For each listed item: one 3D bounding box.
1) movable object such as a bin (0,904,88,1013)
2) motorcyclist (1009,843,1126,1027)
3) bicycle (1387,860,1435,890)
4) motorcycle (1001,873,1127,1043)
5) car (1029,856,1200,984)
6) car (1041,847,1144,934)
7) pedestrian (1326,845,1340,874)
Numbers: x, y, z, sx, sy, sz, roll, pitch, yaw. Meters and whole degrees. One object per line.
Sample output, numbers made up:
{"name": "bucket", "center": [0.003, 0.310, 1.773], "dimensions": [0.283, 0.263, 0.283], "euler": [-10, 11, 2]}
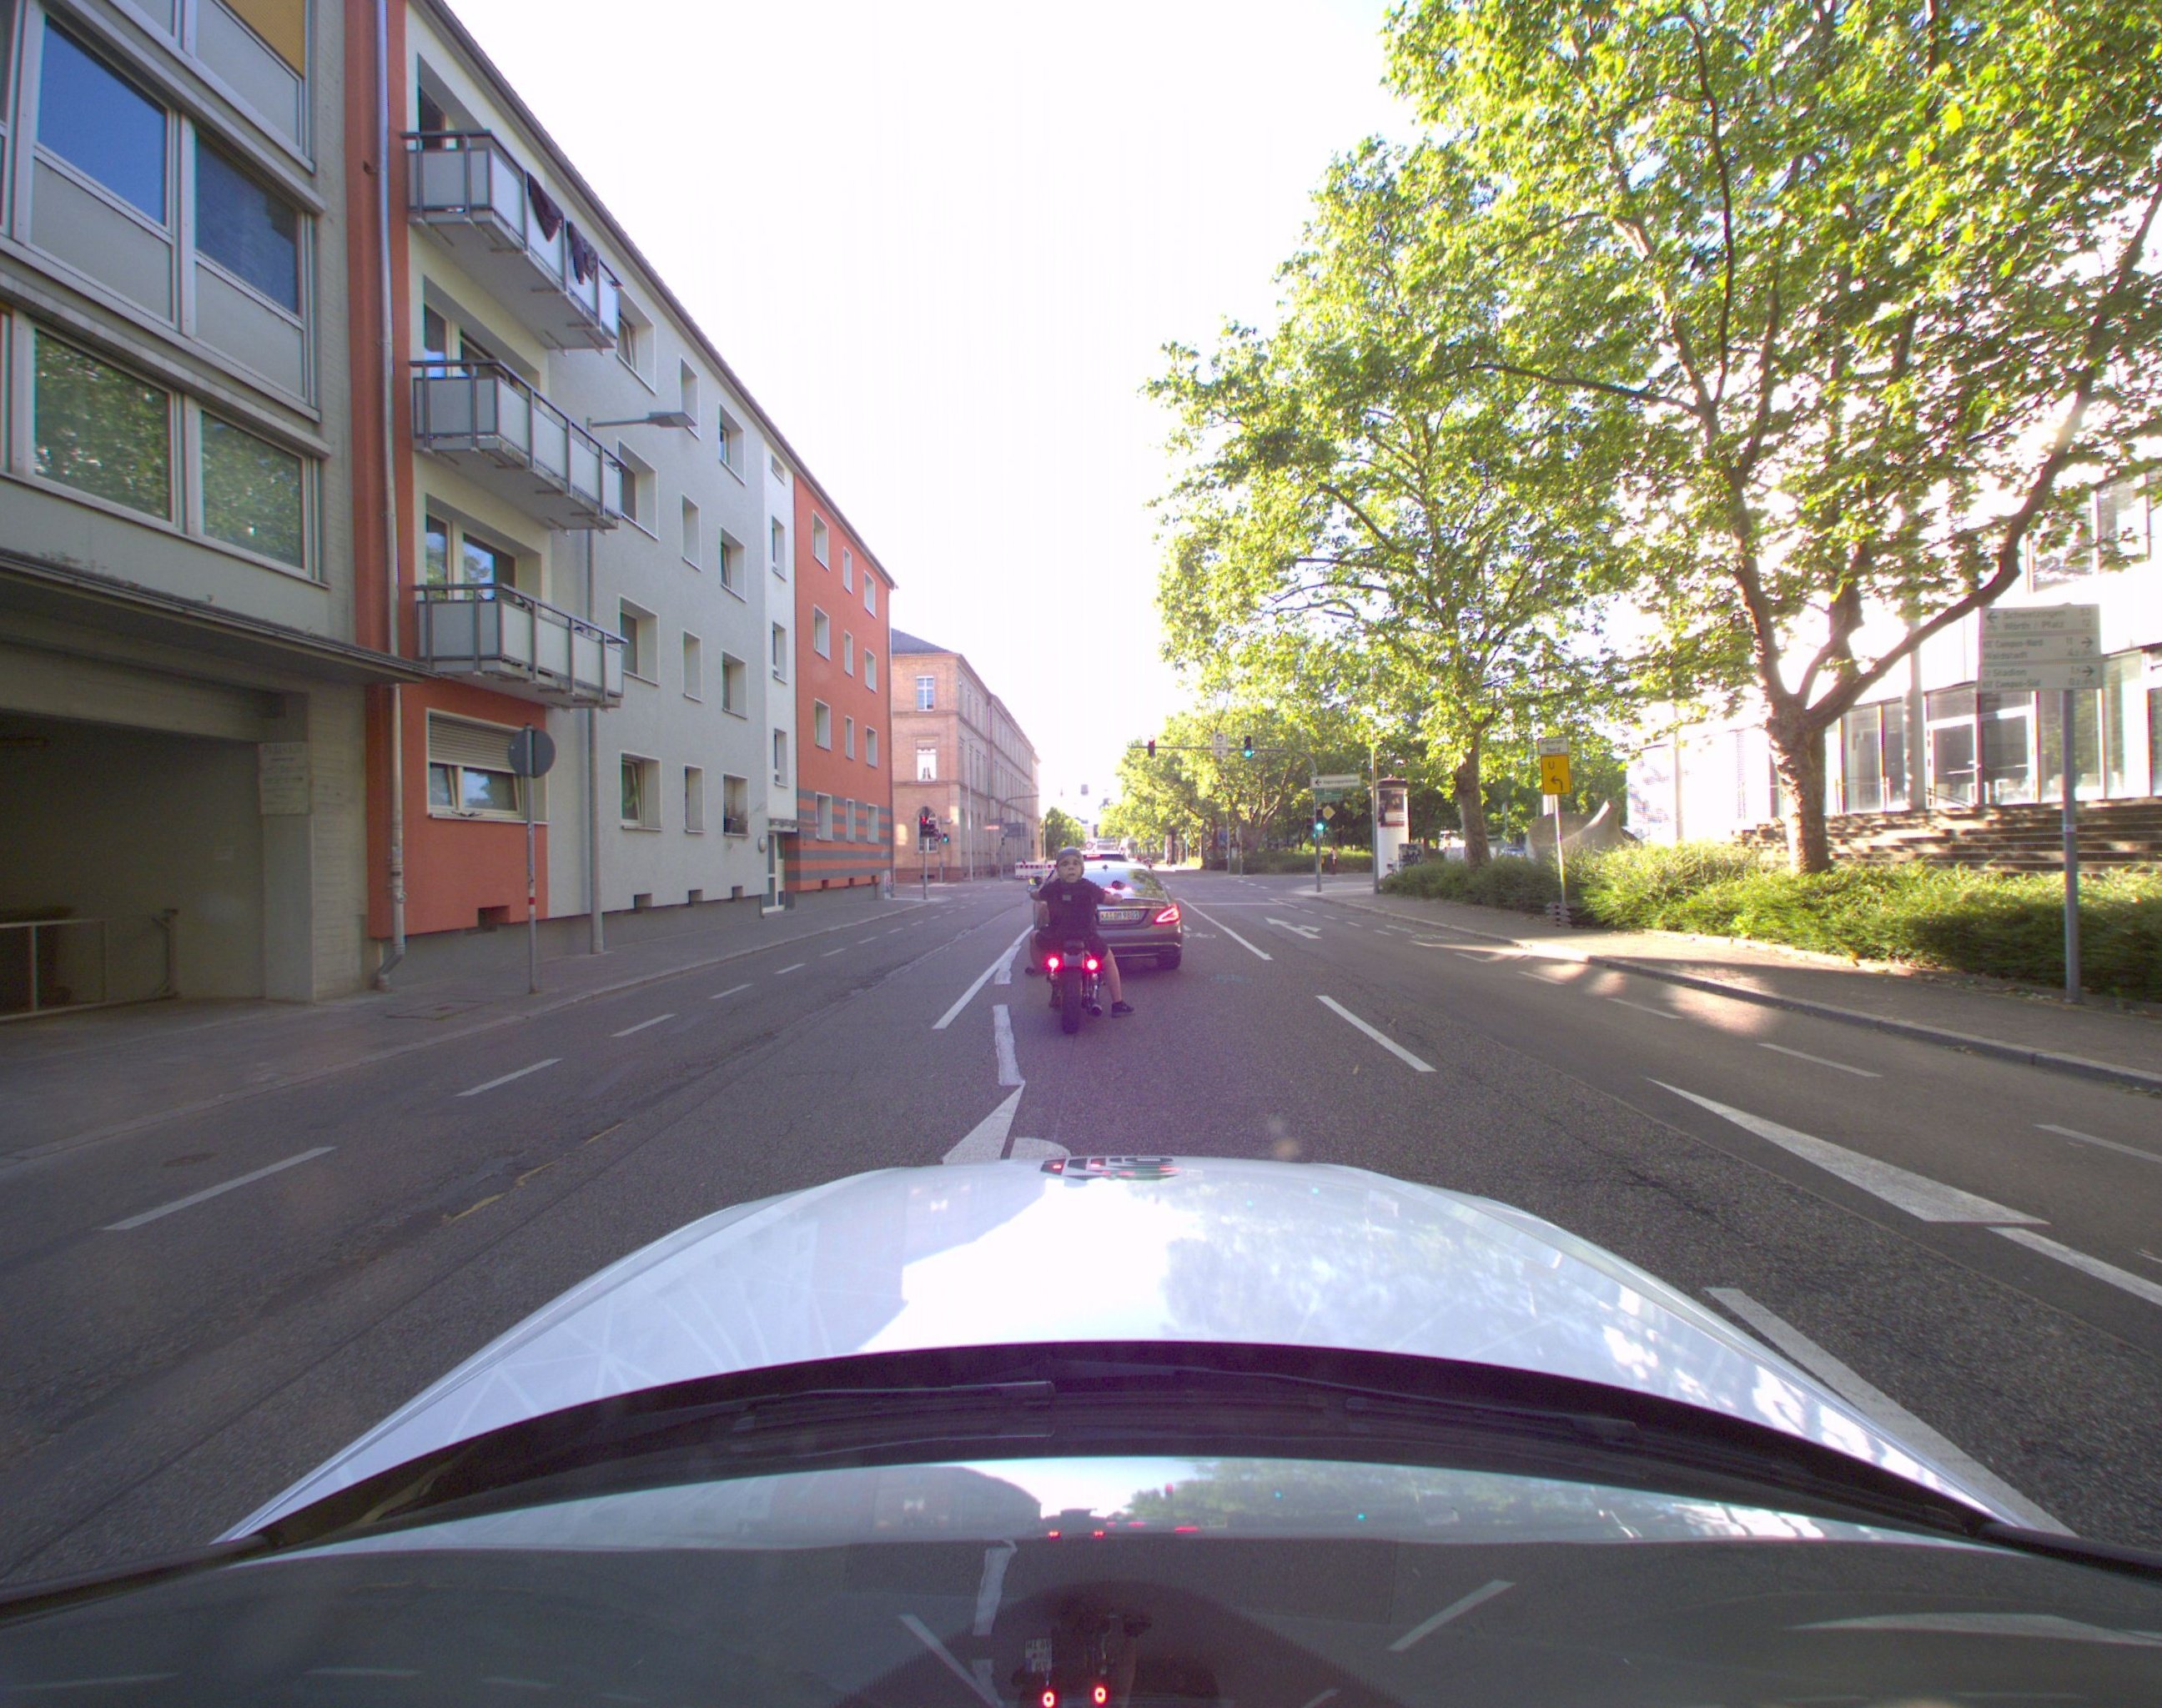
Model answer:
{"name": "movable object such as a bin", "center": [-11.293, 1.090, 8.656], "dimensions": [0.639, 1.065, 0.675], "euler": [-1, 0, 1]}
{"name": "motorcyclist", "center": [-0.098, 0.703, 7.675], "dimensions": [0.977, 1.578, 1.249], "euler": [-1, 0, 1]}
{"name": "bicycle", "center": [11.075, 0.711, 27.332], "dimensions": [1.475, 0.980, 0.300], "euler": [0, -1, 7]}
{"name": "motorcycle", "center": [-0.096, 0.856, 7.699], "dimensions": [0.977, 1.275, 2.408], "euler": [-1, 0, 2]}
{"name": "car", "center": [0.260, 0.772, 11.754], "dimensions": [1.867, 1.444, 4.421], "euler": [-1, 0, -6]}
{"name": "car", "center": [0.285, 0.724, 17.681], "dimensions": [1.986, 1.665, 4.001], "euler": [0, -1, 2]}
{"name": "pedestrian", "center": [15.595, 0.343, 50.390], "dimensions": [0.671, 1.772, 0.621], "euler": [-1, -1, 31]}
